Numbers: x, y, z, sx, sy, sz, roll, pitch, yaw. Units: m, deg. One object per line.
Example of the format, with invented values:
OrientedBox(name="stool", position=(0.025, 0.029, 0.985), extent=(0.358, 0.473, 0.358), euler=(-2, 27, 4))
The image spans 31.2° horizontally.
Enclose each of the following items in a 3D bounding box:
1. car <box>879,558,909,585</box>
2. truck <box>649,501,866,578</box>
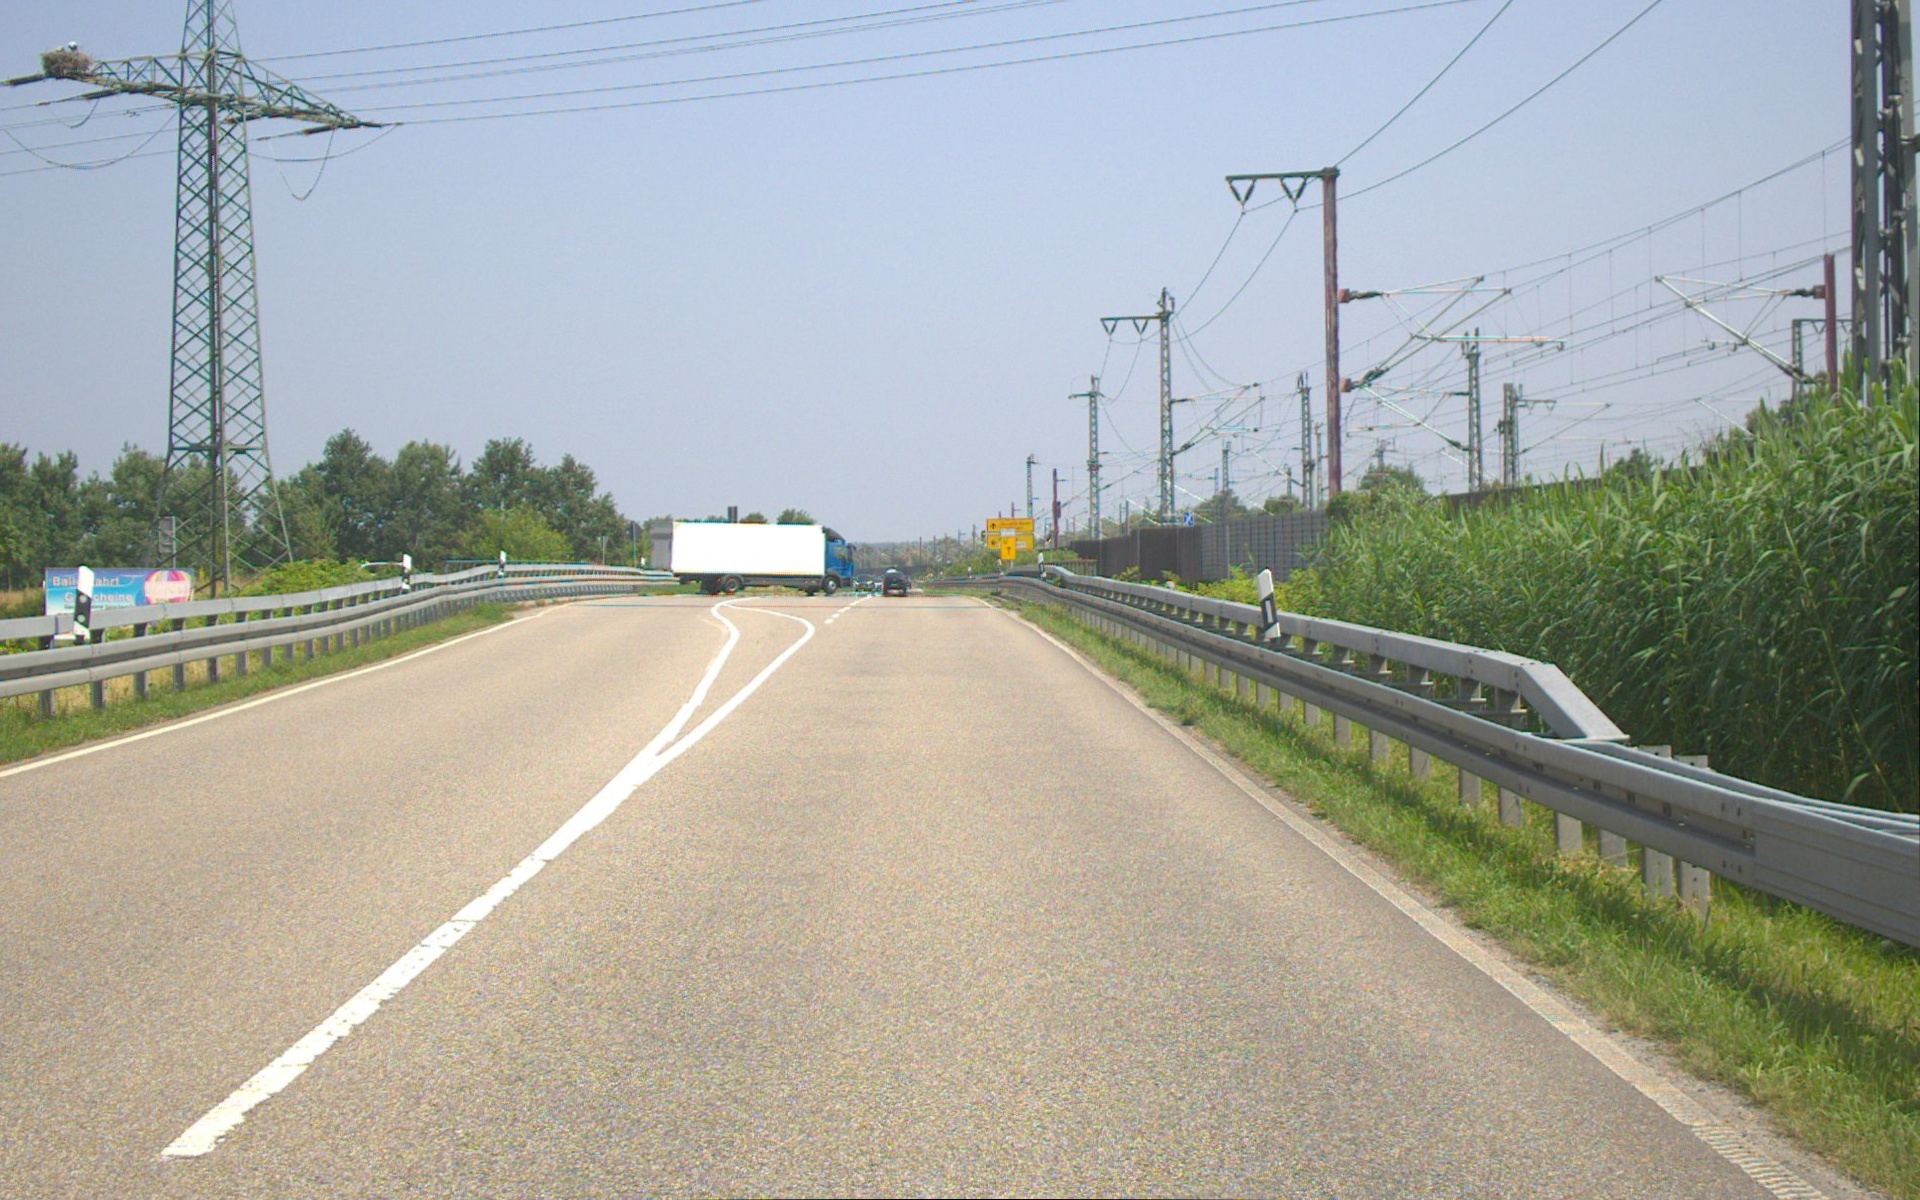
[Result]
OrientedBox(name="car", position=(-4.941, -2.138, 256.981), extent=(1.993, 2.007, 4.001), euler=(0, 1, -4))
OrientedBox(name="truck", position=(-9.913, -2.946, 168.994), extent=(10.412, 3.619, 2.845), euler=(0, 1, -29))
